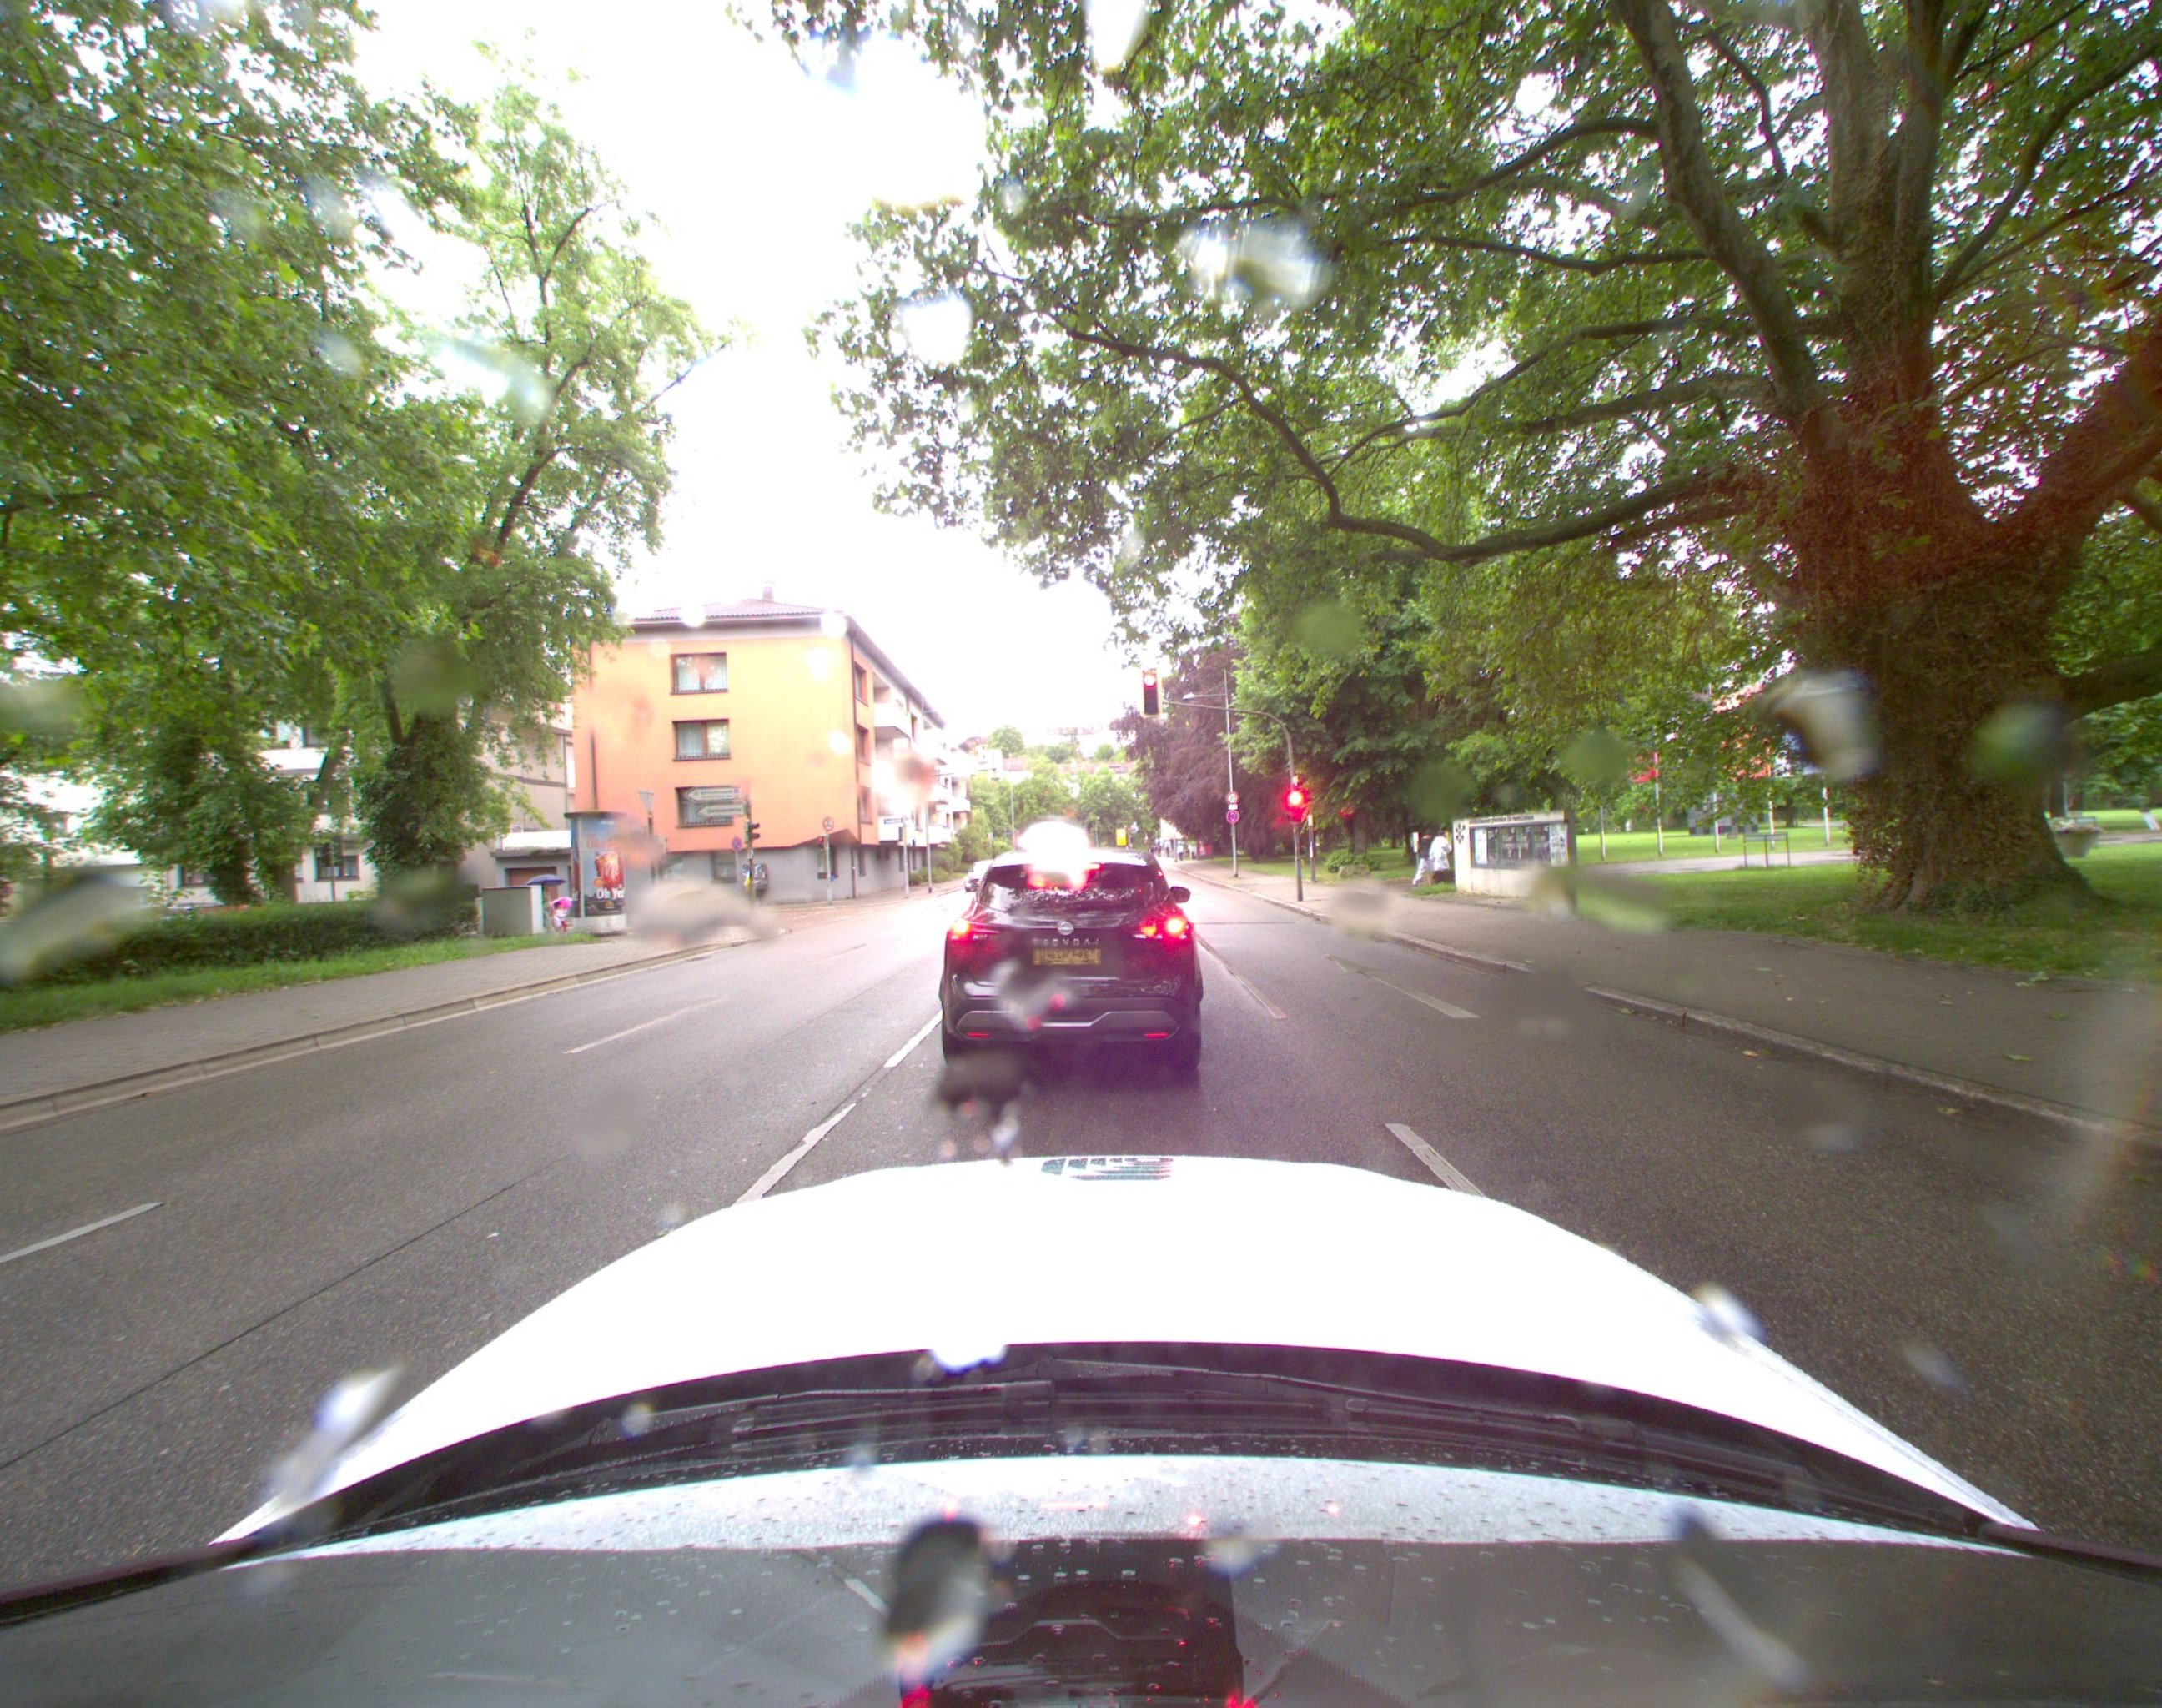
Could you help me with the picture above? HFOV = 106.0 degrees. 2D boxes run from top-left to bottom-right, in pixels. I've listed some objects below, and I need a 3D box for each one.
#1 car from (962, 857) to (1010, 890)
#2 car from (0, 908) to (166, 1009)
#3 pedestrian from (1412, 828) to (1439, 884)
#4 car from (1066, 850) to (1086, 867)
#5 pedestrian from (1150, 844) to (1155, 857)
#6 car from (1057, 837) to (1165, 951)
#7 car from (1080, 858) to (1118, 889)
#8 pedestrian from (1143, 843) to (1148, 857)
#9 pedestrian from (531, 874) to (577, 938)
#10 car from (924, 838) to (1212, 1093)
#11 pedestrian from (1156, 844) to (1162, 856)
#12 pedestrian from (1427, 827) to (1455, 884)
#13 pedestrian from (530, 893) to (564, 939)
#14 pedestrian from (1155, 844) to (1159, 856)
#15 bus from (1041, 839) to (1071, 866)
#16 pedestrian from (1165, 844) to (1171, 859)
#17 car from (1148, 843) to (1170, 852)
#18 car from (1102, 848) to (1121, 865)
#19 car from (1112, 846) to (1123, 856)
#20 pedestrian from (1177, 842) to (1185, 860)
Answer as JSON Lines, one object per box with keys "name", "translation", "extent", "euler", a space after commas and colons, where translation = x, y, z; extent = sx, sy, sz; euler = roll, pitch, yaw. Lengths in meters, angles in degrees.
{"name": "car", "translation": [-4.727, 0.960, 41.222], "extent": [1.802, 1.417, 4.031], "euler": [-4, 0, 1]}
{"name": "car", "translation": [-18.005, 1.736, 13.815], "extent": [3.182, 1.524, 1.507], "euler": [0, -1, -1]}
{"name": "pedestrian", "translation": [10.937, 0.056, 25.858], "extent": [0.484, 1.721, 0.559], "euler": [-3, 0, -5]}
{"name": "car", "translation": [-0.433, 0.393, 75.414], "extent": [1.618, 1.415, 3.456], "euler": [-3, 0, 2]}
{"name": "pedestrian", "translation": [9.594, -0.466, 109.480], "extent": [0.542, 1.651, 0.490], "euler": [0, -1, 2]}
{"name": "car", "translation": [0.584, 0.624, 14.774], "extent": [1.615, 1.709, 3.774], "euler": [-3, 0, 3]}
{"name": "car", "translation": [0.900, 0.928, 41.242], "extent": [1.802, 1.417, 4.031], "euler": [-2, 0, 1]}
{"name": "pedestrian", "translation": [9.571, -0.580, 120.550], "extent": [0.764, 2.183, 0.712], "euler": [0, -1, 5]}
{"name": "pedestrian", "translation": [-15.117, 1.468, 23.385], "extent": [0.997, 1.742, 1.198], "euler": [0, 0, -29]}
{"name": "car", "translation": [-0.019, 0.718, 7.121], "extent": [1.799, 1.590, 4.001], "euler": [0, -1, 2]}
{"name": "pedestrian", "translation": [10.463, -0.518, 109.446], "extent": [0.696, 1.651, 0.628], "euler": [0, -1, 2]}
{"name": "pedestrian", "translation": [11.129, 0.049, 25.189], "extent": [0.502, 1.721, 0.559], "euler": [-3, 0, -5]}
{"name": "pedestrian", "translation": [-14.663, 1.685, 22.381], "extent": [0.688, 1.175, 0.819], "euler": [0, 0, -29]}
{"name": "pedestrian", "translation": [10.145, -0.506, 108.364], "extent": [0.513, 1.655, 0.550], "euler": [0, -1, 1]}
{"name": "bus", "translation": [-2.932, -0.082, 98.835], "extent": [2.756, 2.974, 11.785], "euler": [-3, -1, 2]}
{"name": "pedestrian", "translation": [10.912, -0.289, 102.052], "extent": [0.616, 1.779, 0.551], "euler": [-3, 0, 1]}
{"name": "car", "translation": [15.600, -1.271, 163.525], "extent": [3.986, 1.684, 1.994], "euler": [-3, 0, -9]}
{"name": "car", "translation": [2.741, 0.230, 73.657], "extent": [1.618, 1.415, 3.456], "euler": [-3, 0, 2]}
{"name": "car", "translation": [6.161, -0.521, 136.428], "extent": [1.743, 1.633, 3.636], "euler": [-3, 0, 2]}
{"name": "pedestrian", "translation": [10.094, -0.265, 82.166], "extent": [0.616, 1.779, 0.779], "euler": [-3, 0, 1]}
